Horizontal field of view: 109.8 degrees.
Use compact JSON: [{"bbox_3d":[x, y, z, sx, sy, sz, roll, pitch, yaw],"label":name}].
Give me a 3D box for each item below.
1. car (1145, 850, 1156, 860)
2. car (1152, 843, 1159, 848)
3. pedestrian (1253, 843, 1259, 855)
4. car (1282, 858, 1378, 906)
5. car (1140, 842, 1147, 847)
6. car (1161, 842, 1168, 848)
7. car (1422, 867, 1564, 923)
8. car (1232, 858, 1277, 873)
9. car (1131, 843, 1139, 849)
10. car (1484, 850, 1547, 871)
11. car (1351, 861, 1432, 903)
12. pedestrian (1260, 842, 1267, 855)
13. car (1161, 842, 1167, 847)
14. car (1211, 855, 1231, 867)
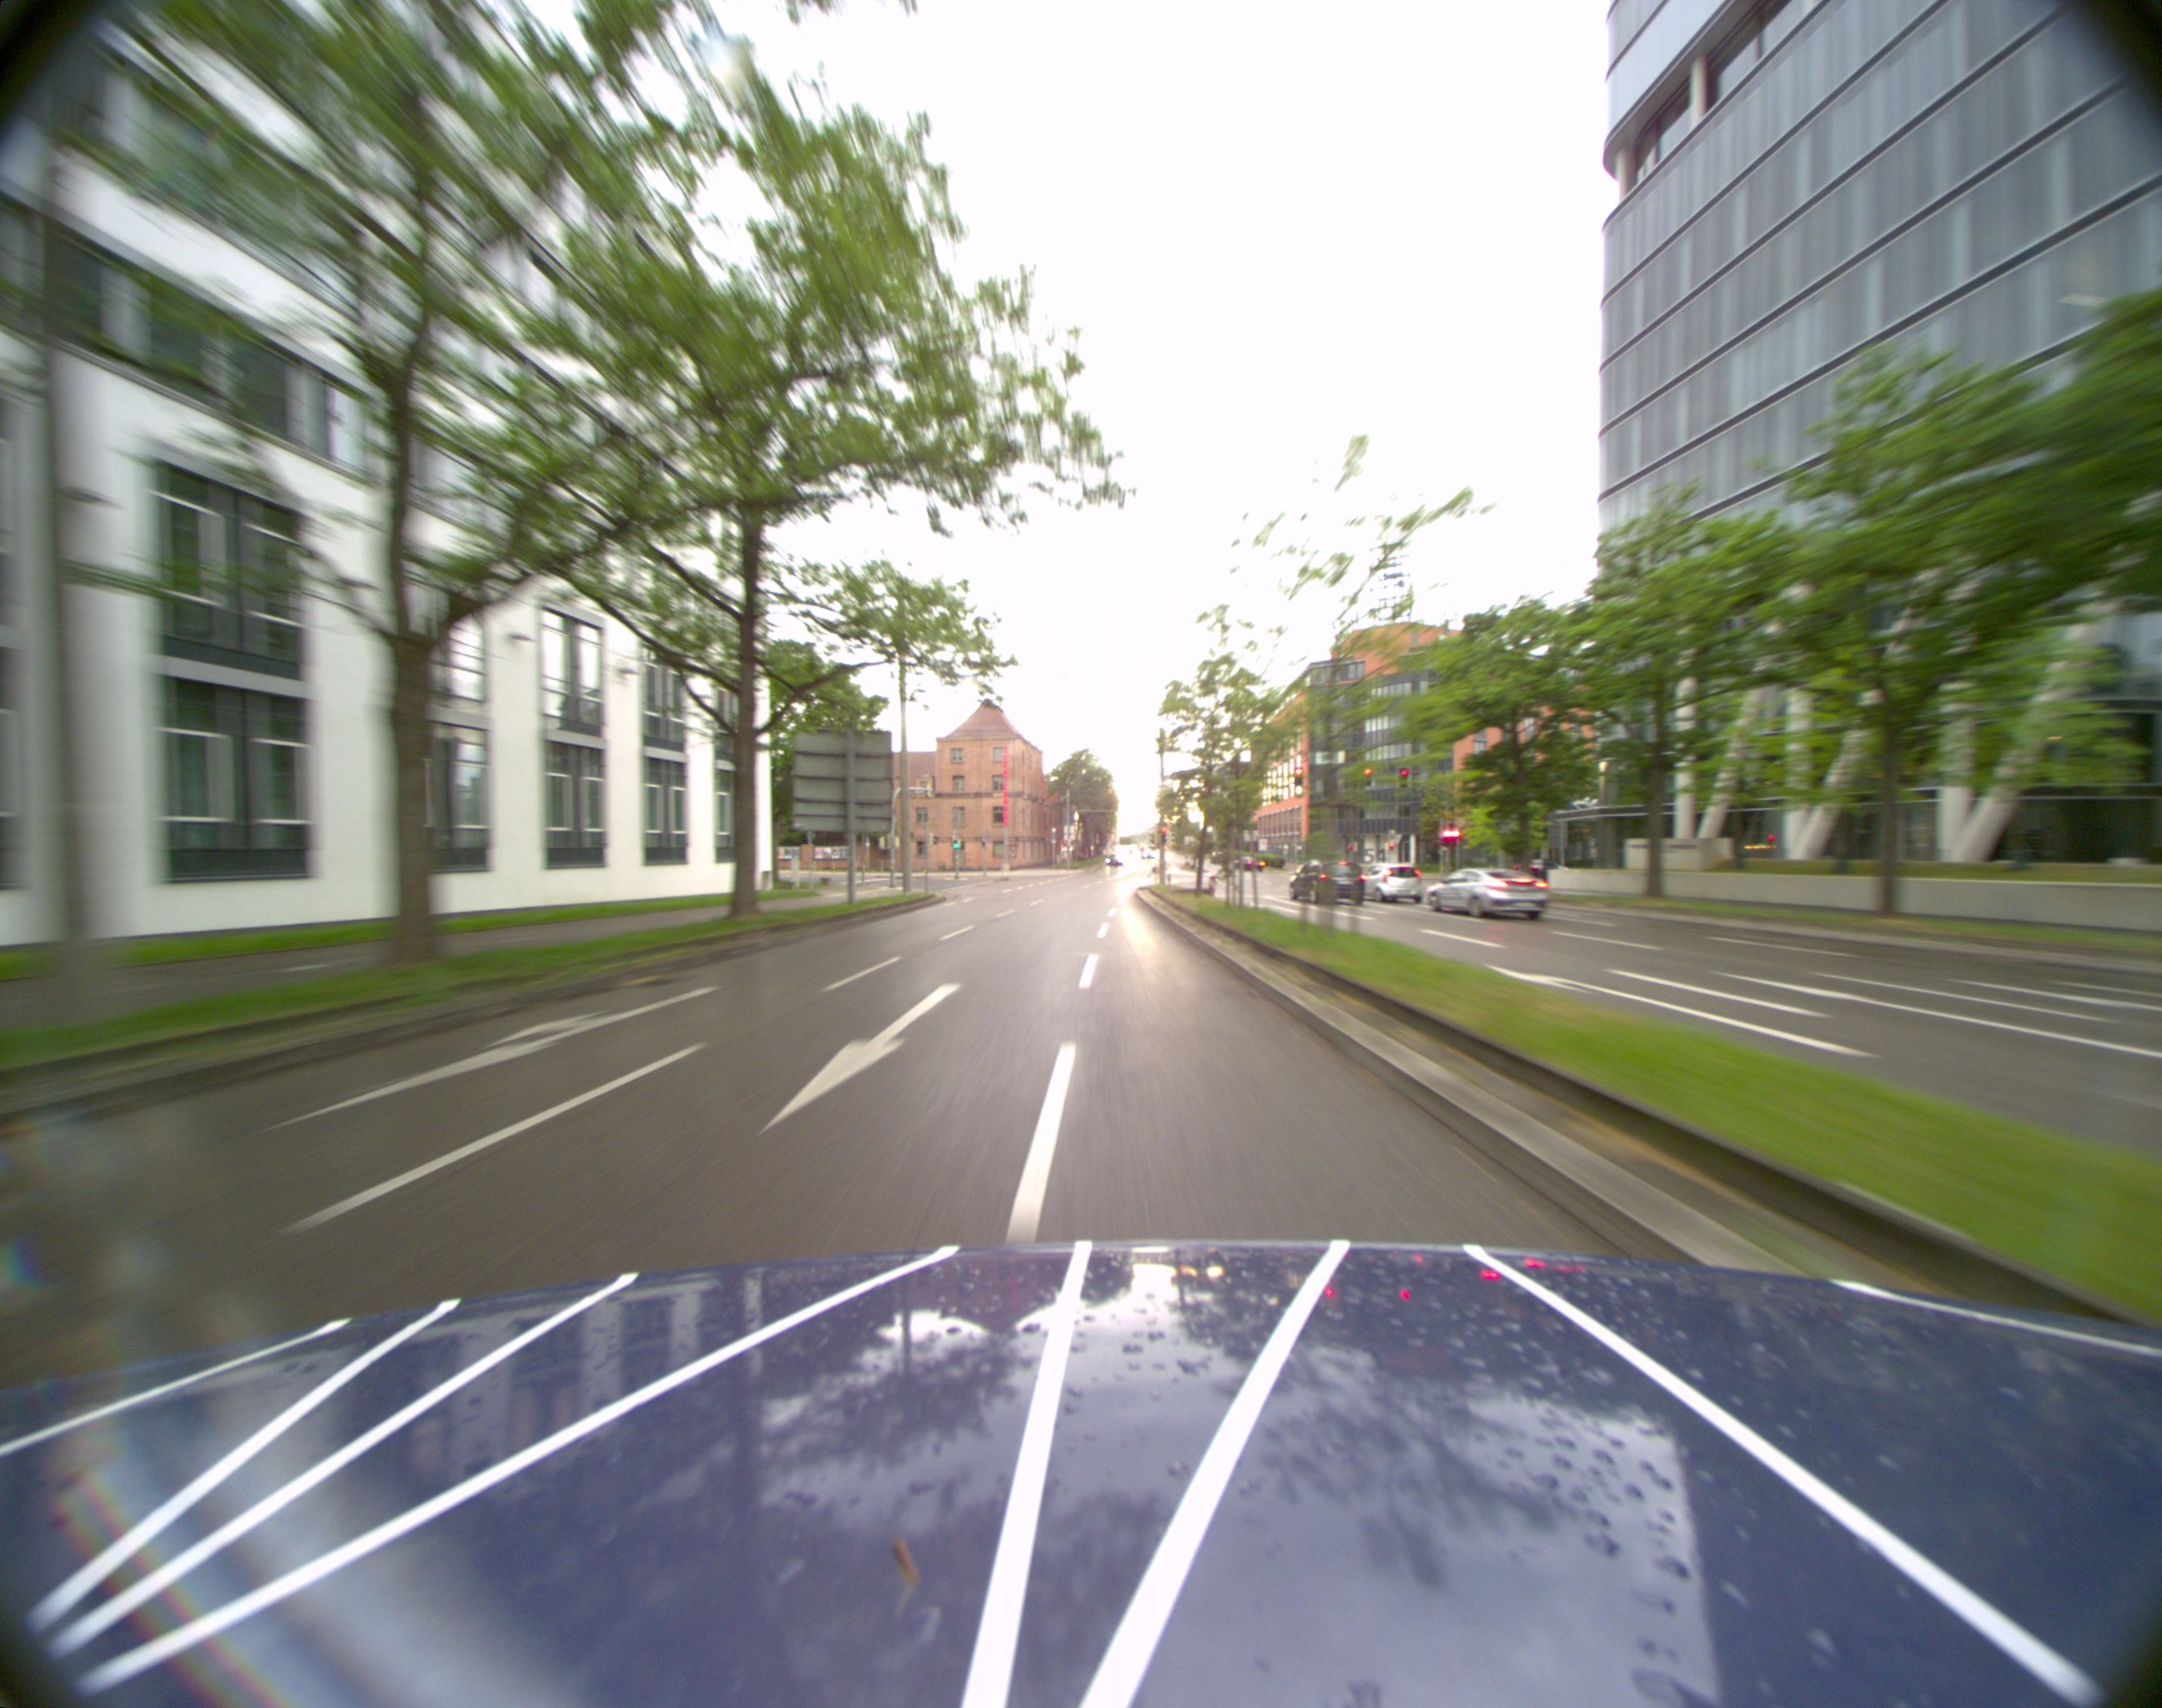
[{"bbox_3d":[11.016,0.192,120.554,1.798,1.501,4.001,1,1,5],"label":"car"},{"bbox_3d":[23.082,-2.689,235.817,1.998,1.543,4.000,0,1,5],"label":"car"},{"bbox_3d":[26.767,-0.821,115.982,0.747,1.830,0.886,-2,2,4],"label":"pedestrian"},{"bbox_3d":[9.460,1.000,29.391,1.998,1.606,5.120,1,0,0],"label":"car"},{"bbox_3d":[18.671,-2.941,228.152,1.998,1.543,4.000,0,1,5],"label":"car"},{"bbox_3d":[24.881,-2.765,227.776,1.766,1.559,4.000,1,1,2],"label":"car"},{"bbox_3d":[12.248,1.155,22.988,1.818,1.403,4.655,1,0,1],"label":"car"},{"bbox_3d":[17.131,1.082,75.189,1.857,1.355,3.988,0,2,-41],"label":"car"},{"bbox_3d":[12.551,-1.815,177.021,1.798,1.501,4.001,1,1,5],"label":"car"},{"bbox_3d":[36.709,0.493,64.131,5.432,1.656,1.995,-1,1,-27],"label":"car"},{"bbox_3d":[12.435,1.097,30.685,1.754,1.511,3.817,1,0,1],"label":"car"},{"bbox_3d":[27.723,-0.824,115.463,0.747,1.830,0.886,-2,2,4],"label":"pedestrian"},{"bbox_3d":[26.534,-3.055,242.680,1.766,1.559,4.000,1,1,3],"label":"car"},{"bbox_3d":[18.300,0.862,99.671,1.855,1.501,4.373,1,0,2],"label":"car"}]
